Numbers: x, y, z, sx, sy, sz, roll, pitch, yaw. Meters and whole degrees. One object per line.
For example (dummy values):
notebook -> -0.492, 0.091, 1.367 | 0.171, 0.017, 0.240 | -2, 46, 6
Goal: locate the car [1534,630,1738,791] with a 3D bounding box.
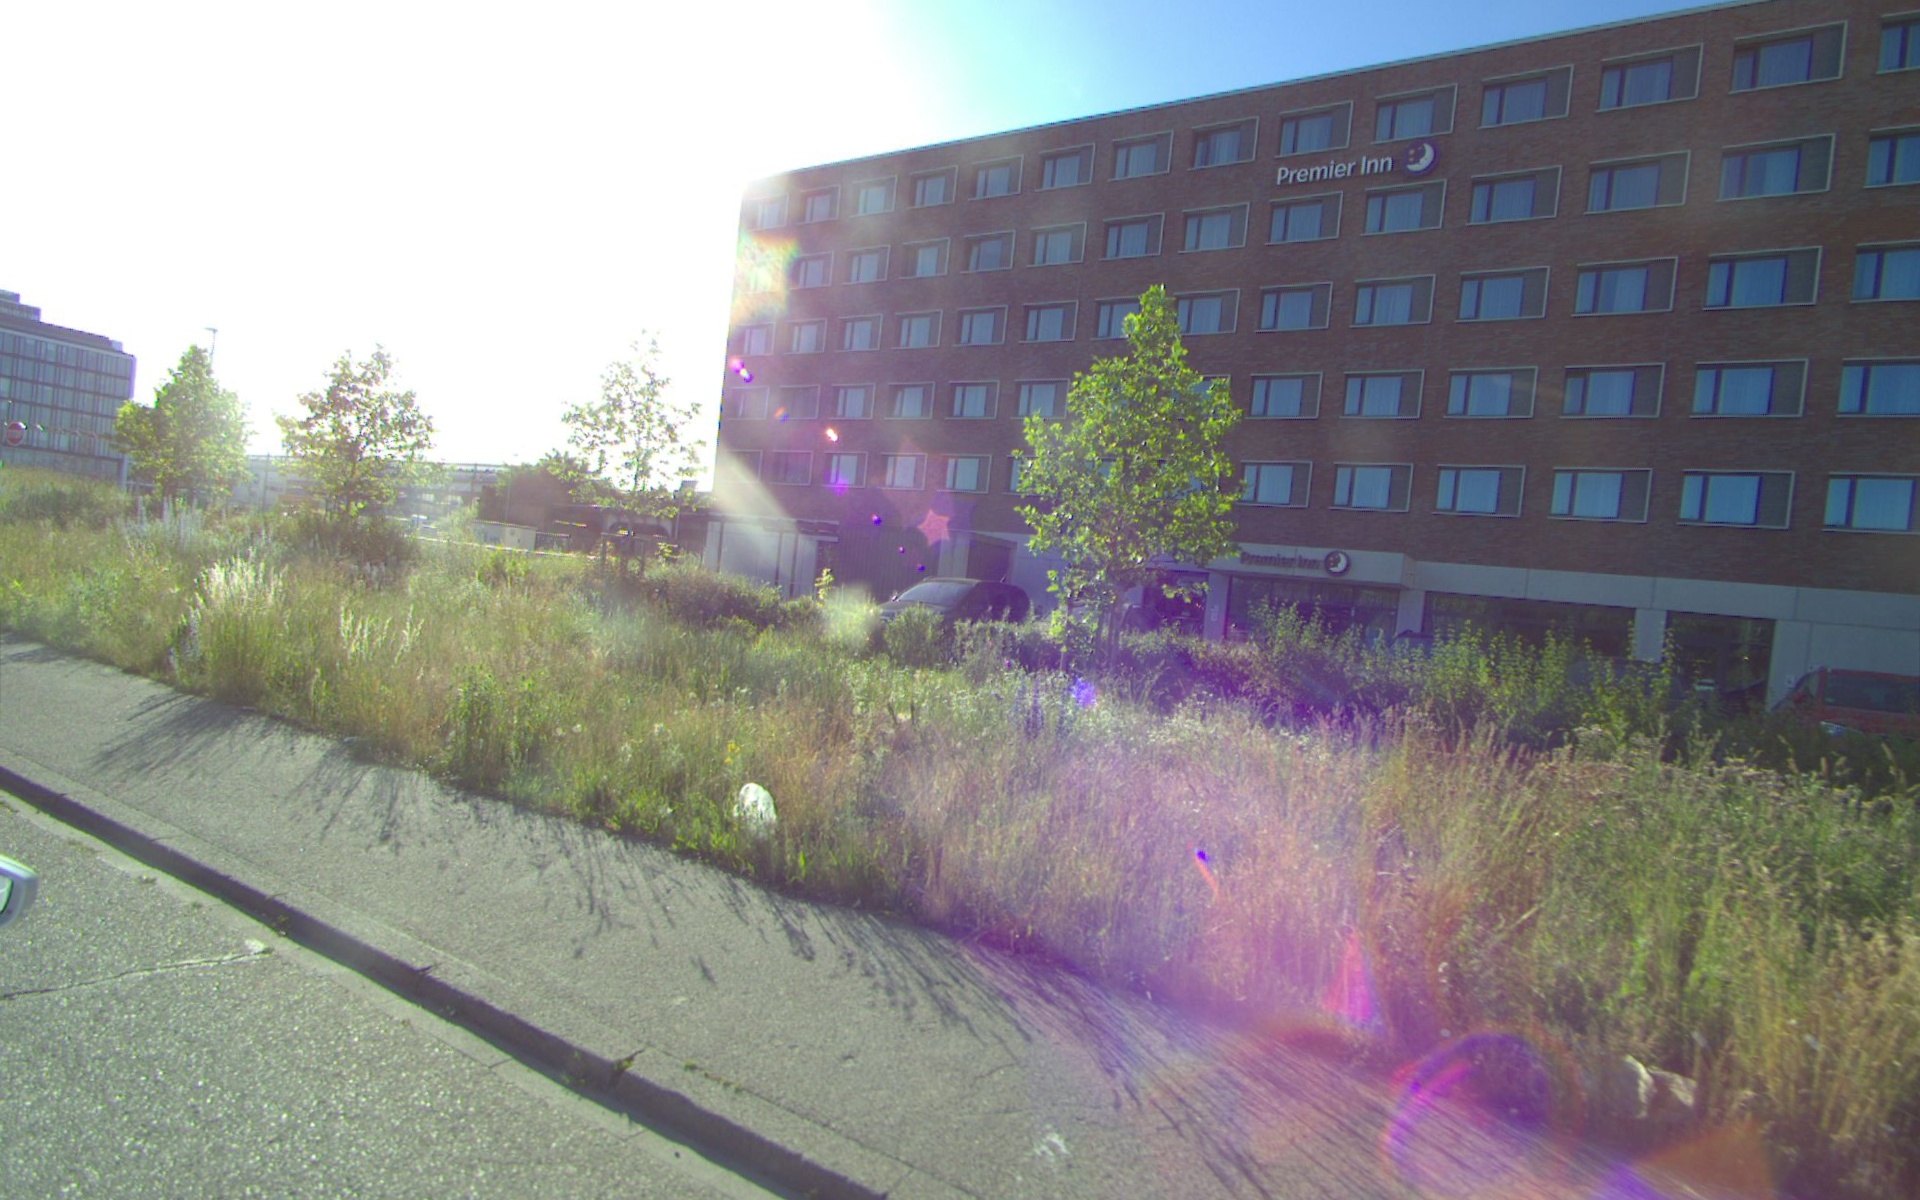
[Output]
car -> 8.985, 1.421, 13.557 | 1.821, 1.599, 4.189 | 7, 0, 33

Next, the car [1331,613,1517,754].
car -> 7.038, 1.233, 15.004 | 1.821, 1.599, 4.189 | 7, 0, 33

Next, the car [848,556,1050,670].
car -> -0.095, 0.311, 19.325 | 1.821, 1.726, 3.991 | 7, 0, 33

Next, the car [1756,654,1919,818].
car -> 11.208, 1.643, 12.214 | 1.821, 1.599, 4.189 | 7, 0, 33

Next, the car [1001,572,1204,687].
car -> 2.645, 0.589, 17.803 | 1.821, 1.599, 4.189 | 7, 0, 33

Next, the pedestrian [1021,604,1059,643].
pedestrian -> 3.071, 0.916, 38.679 | 0.993, 1.326, 0.930 | 7, 0, 30

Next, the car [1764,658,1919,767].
car -> 20.436, 2.545, 21.443 | 4.713, 1.959, 1.974 | 7, 0, 31
